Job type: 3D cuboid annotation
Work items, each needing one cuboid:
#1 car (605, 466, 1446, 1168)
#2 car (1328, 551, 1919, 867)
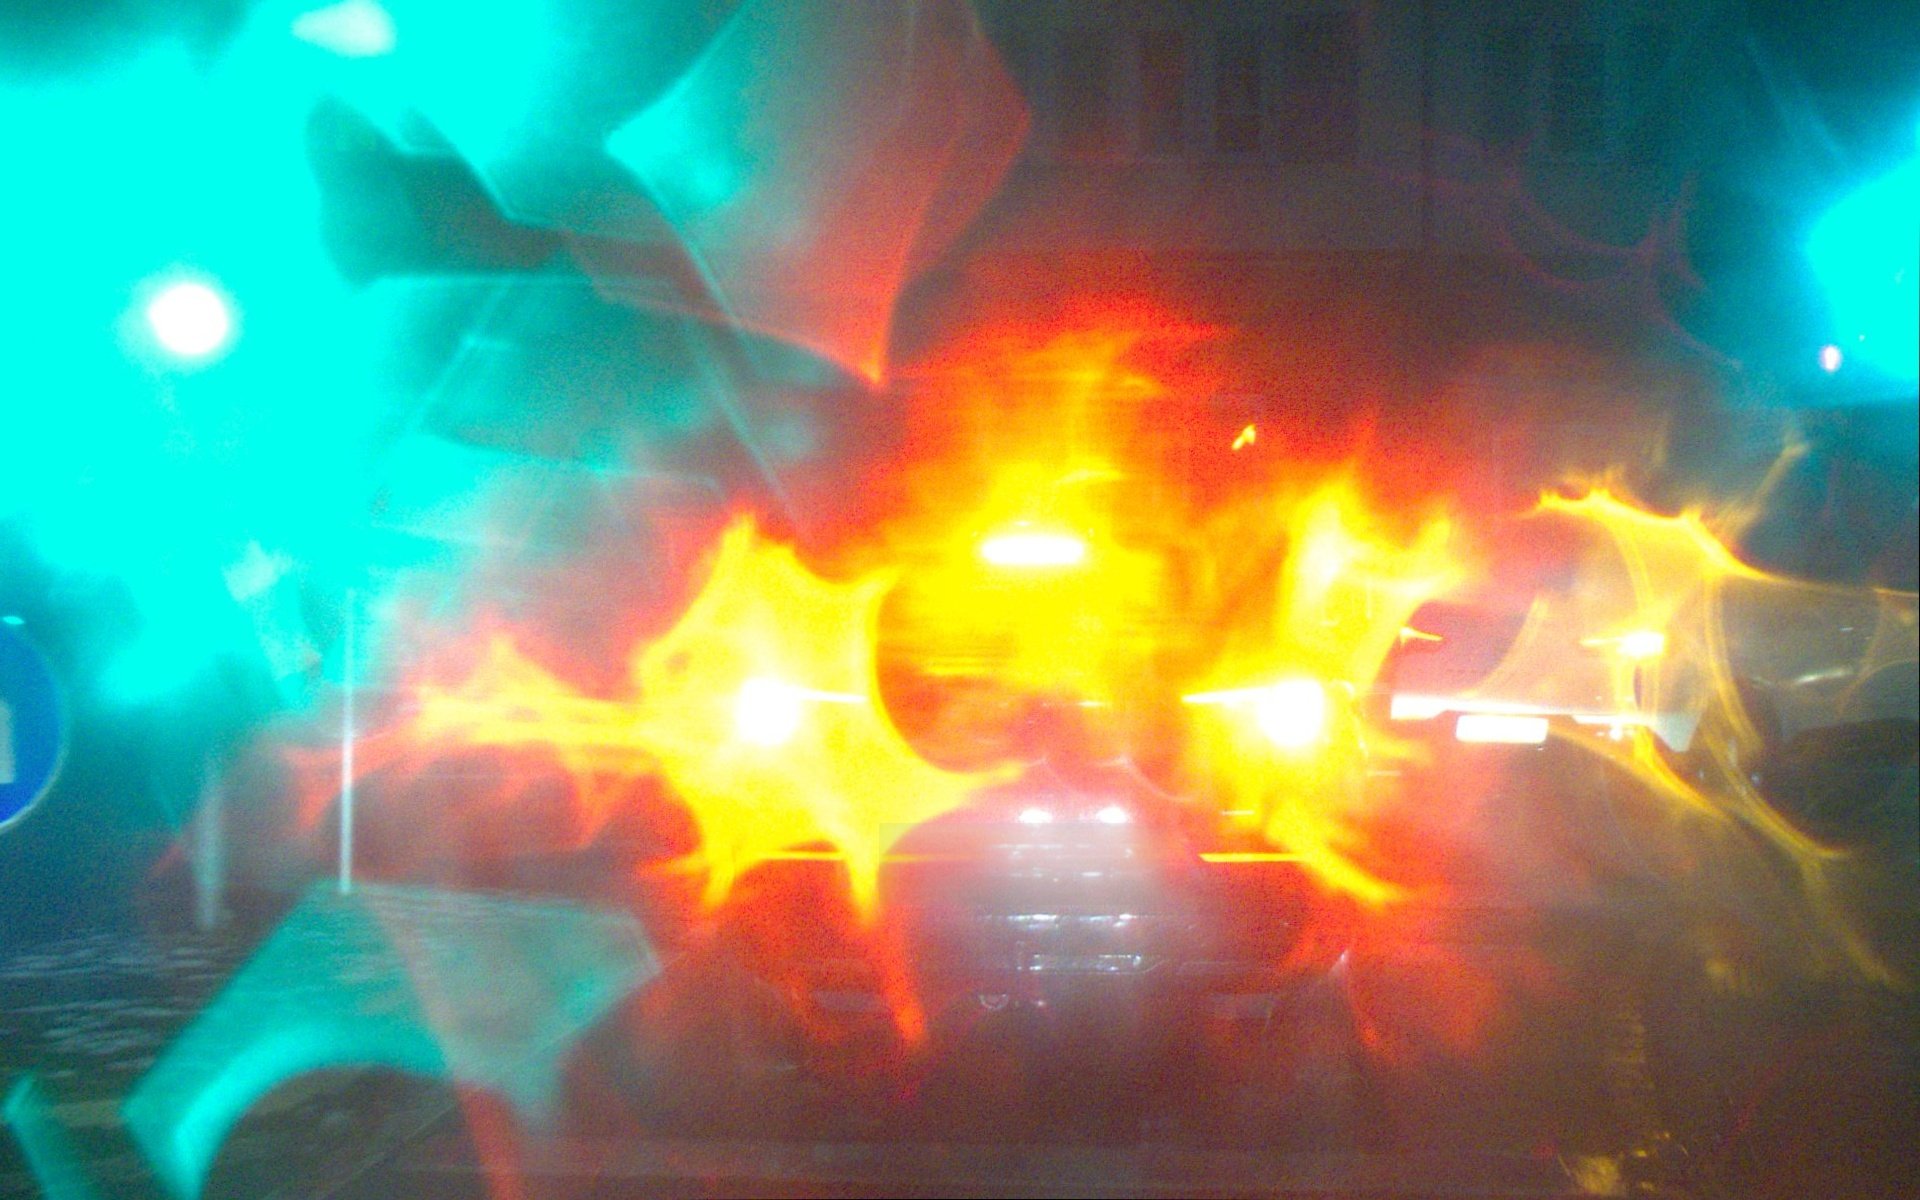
[{"bbox_3d":[0.309,0.529,10.769,2.058,1.672,4.139,3,1,4],"label":"car"},{"bbox_3d":[4.016,0.510,18.760,1.914,1.505,4.230,1,1,41],"label":"car"}]
